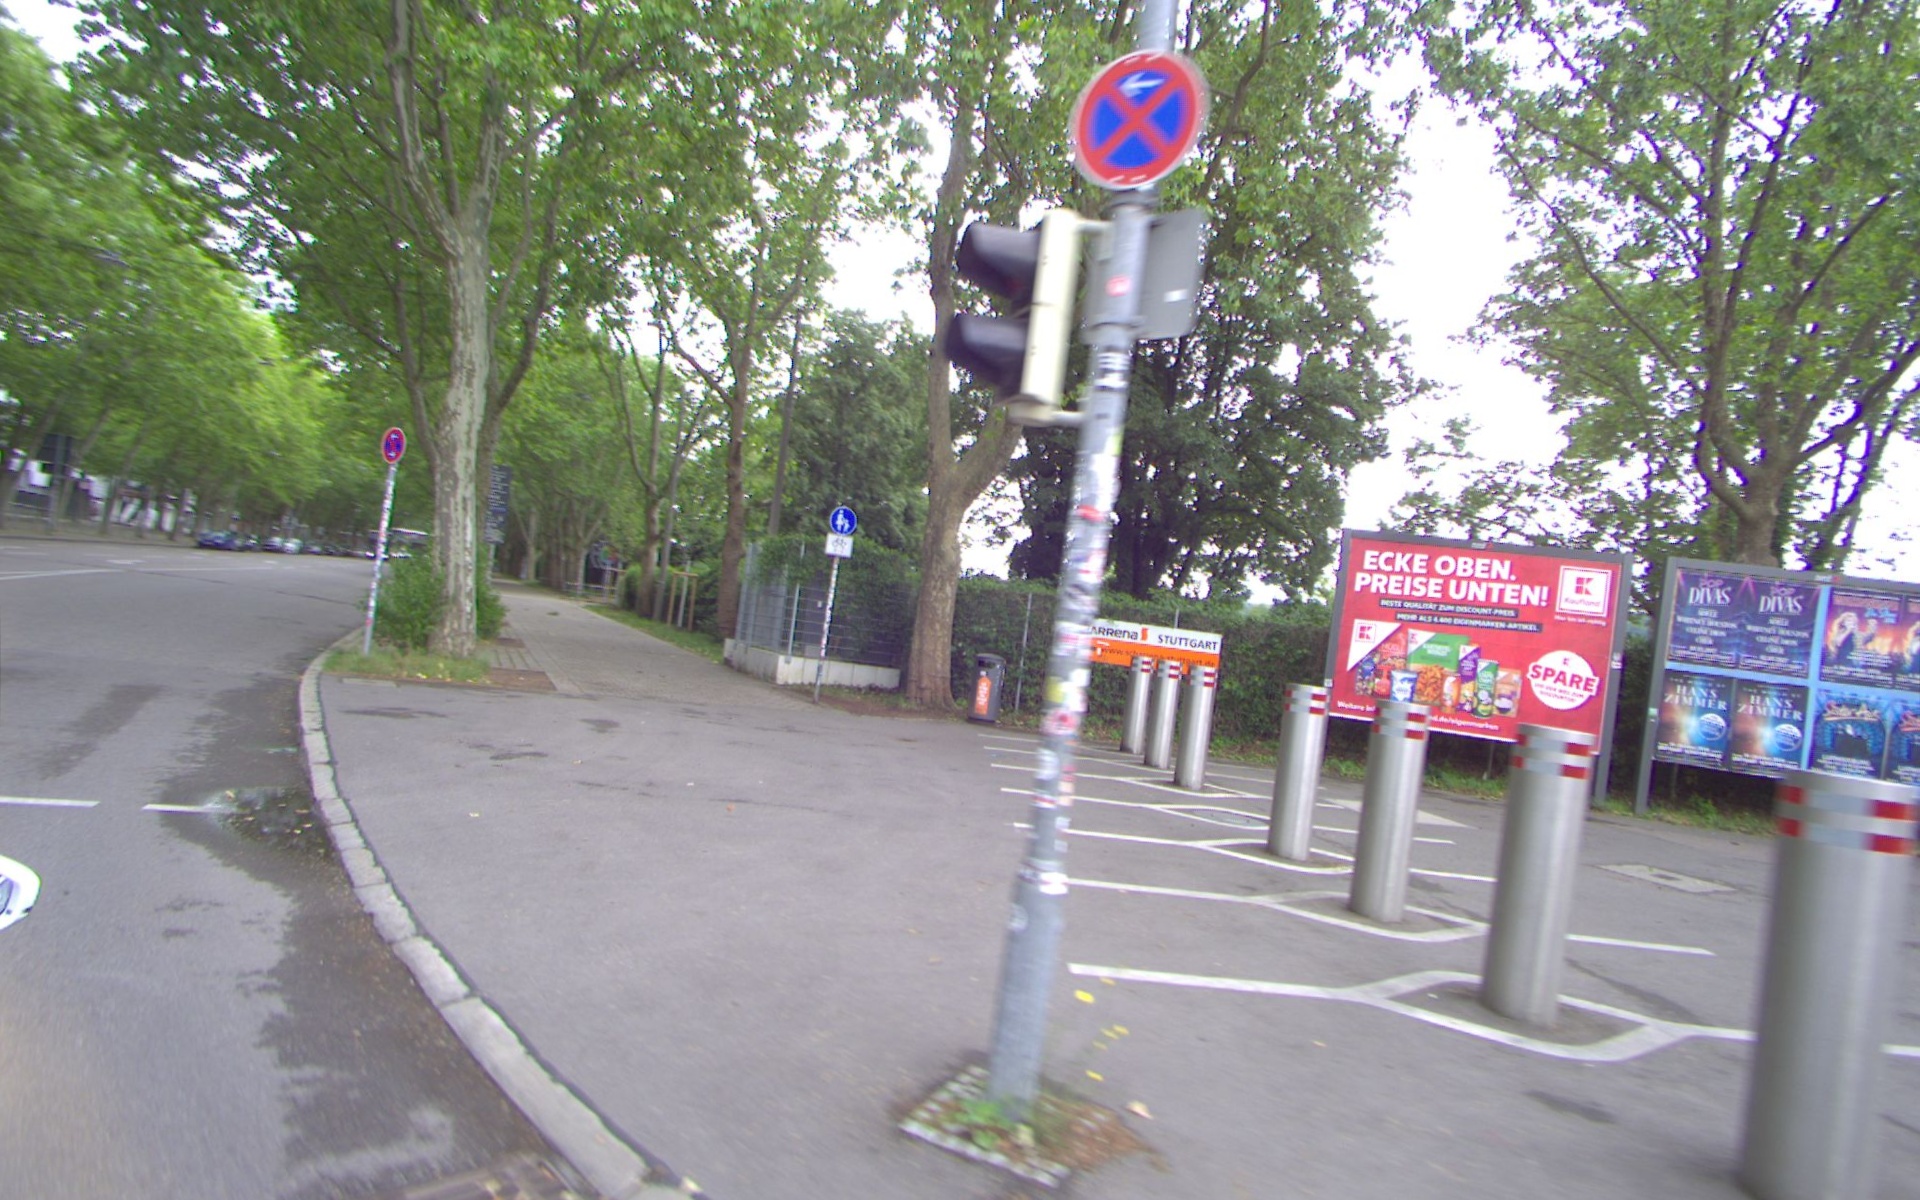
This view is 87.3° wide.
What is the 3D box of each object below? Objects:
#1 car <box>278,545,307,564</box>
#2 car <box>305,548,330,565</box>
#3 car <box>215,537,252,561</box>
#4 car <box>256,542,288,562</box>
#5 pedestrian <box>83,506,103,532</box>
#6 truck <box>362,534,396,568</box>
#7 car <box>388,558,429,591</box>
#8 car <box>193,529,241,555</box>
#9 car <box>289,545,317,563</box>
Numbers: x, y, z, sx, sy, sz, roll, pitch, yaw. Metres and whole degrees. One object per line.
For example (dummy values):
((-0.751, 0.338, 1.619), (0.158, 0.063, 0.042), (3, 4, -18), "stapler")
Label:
((-62.245, -4.221, 93.893), (1.717, 1.347, 3.977), (7, -3, -27), "car")
((-71.280, -4.802, 111.649), (1.879, 1.454, 3.975), (7, -3, -28), "car")
((-53.563, -3.724, 74.220), (1.751, 1.435, 3.735), (5, -2, -29), "car")
((-59.572, -4.137, 87.156), (1.749, 1.435, 3.739), (5, -2, -27), "car")
((-68.888, -6.444, 79.938), (0.864, 1.856, 0.771), (7, -1, 29), "pedestrian")
((-78.506, -6.556, 136.160), (2.615, 3.948, 9.489), (7, -1, -24), "truck")
((-32.497, -1.499, 59.337), (1.687, 1.534, 4.426), (12, -4, -26), "car")
((-51.408, -4.005, 69.637), (1.677, 1.435, 3.745), (5, -2, -22), "car")
((-64.647, -4.505, 99.033), (1.879, 1.454, 3.975), (7, -3, -28), "car")
